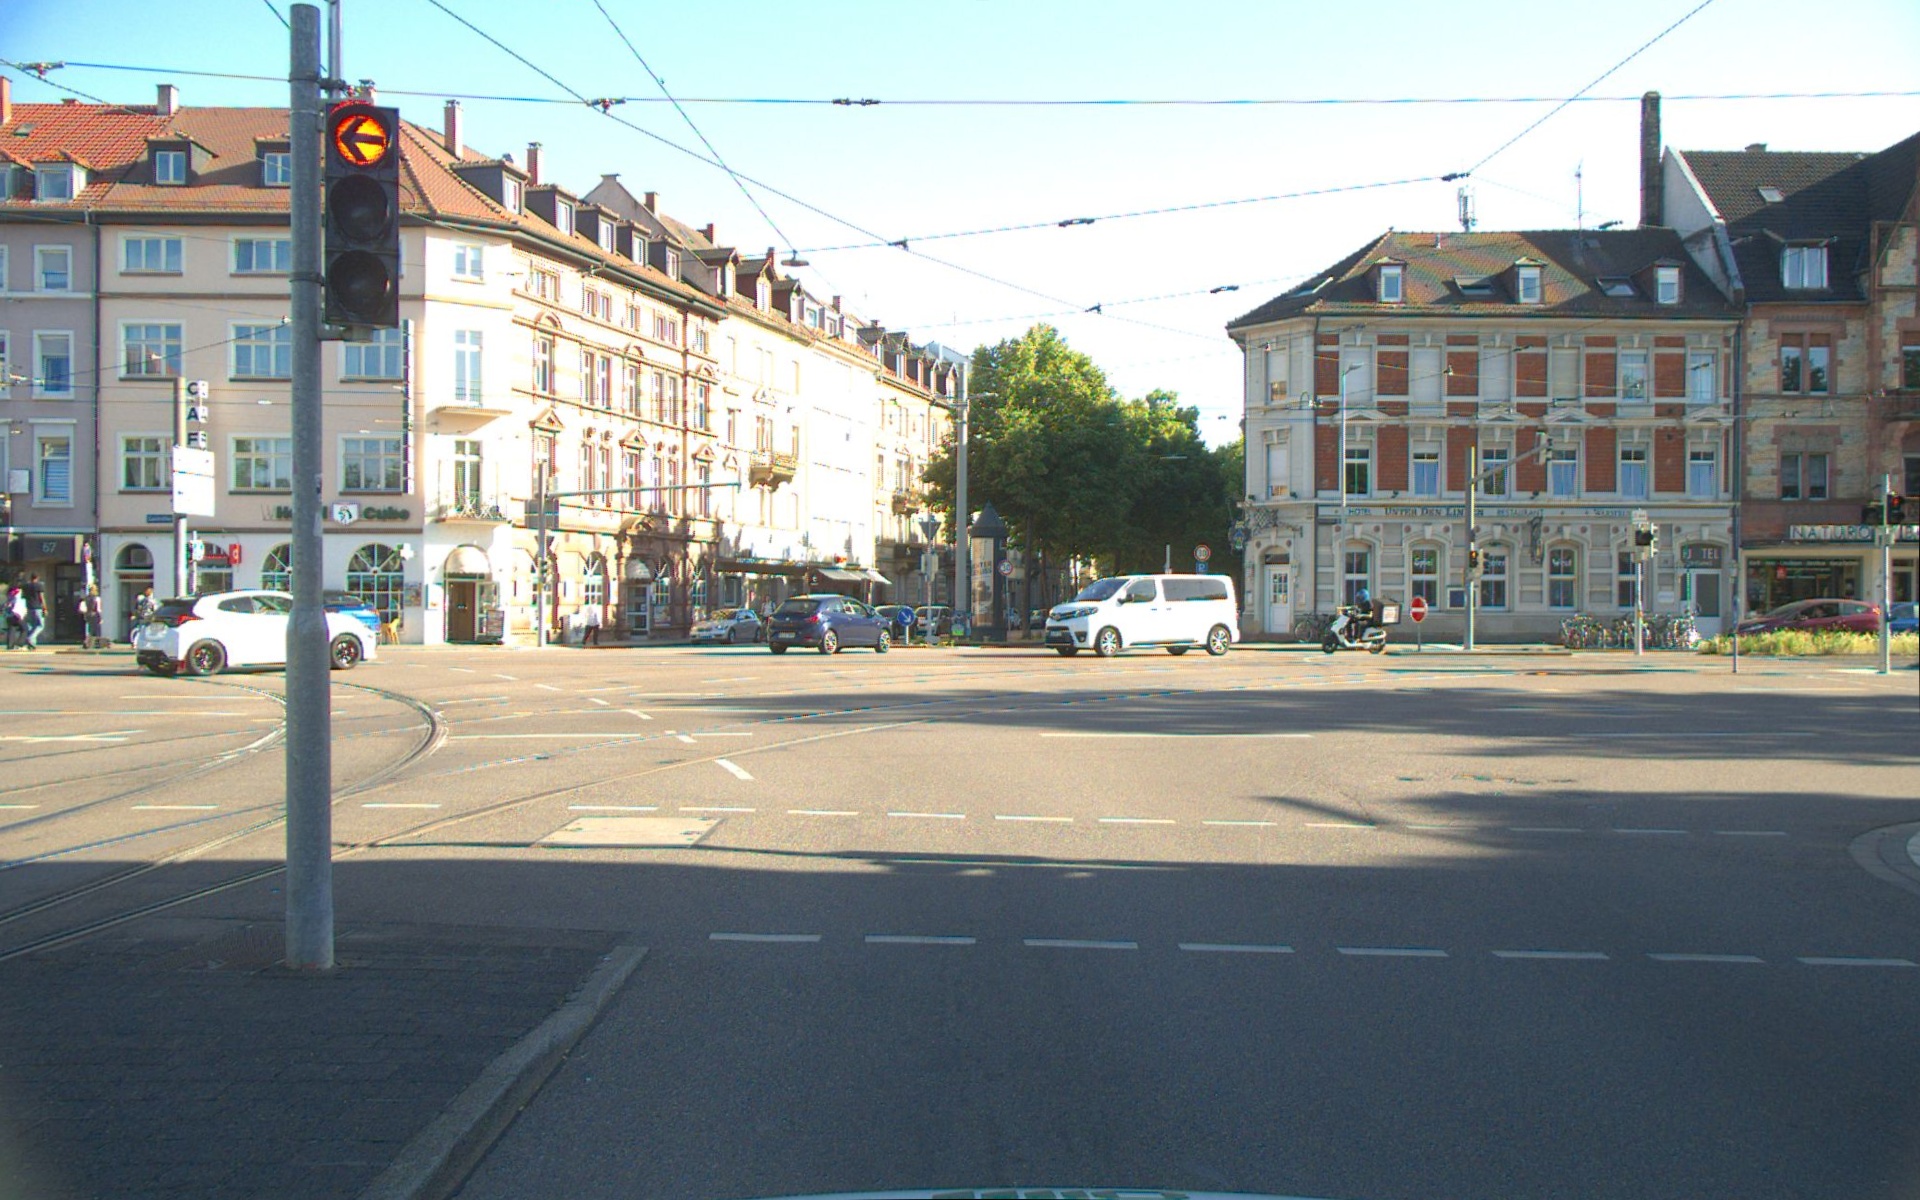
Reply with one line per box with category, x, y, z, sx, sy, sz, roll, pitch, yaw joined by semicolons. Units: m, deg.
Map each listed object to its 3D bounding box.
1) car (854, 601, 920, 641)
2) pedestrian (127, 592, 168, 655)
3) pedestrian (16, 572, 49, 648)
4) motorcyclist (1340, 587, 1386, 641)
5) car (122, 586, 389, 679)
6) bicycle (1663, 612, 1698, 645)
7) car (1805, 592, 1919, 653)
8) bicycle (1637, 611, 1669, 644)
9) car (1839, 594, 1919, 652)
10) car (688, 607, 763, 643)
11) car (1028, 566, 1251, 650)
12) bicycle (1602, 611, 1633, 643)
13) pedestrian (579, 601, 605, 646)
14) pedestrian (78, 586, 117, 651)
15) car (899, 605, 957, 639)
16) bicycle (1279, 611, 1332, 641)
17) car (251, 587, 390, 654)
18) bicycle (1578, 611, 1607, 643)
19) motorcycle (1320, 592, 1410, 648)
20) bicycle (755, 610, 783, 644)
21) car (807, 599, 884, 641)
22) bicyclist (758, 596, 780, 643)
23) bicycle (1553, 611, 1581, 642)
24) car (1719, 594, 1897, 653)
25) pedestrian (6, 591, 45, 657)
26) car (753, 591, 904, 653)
car;-3.215;0.931;73.445;1.786;1.715;3.877;1;0;16
pedestrian;-21.181;0.601;43.131;0.655;1.622;0.815;1;-1;-1
pedestrian;-22.904;0.256;40.859;0.518;1.854;0.674;1;-1;-16
motorcyclist;10.138;0.355;41.623;0.993;1.323;0.789;1;0;5
car;-12.507;0.523;29.514;1.864;1.479;3.986;0;1;41
bicycle;23.296;0.899;53.491;0.775;1.033;2.211;1;0;17
car;25.922;0.631;46.028;3.905;1.650;1.804;1;0;0
bicycle;22.484;0.887;53.699;0.749;1.025;2.221;1;0;17
car;28.432;0.687;48.937;3.905;1.650;1.804;1;0;0
car;-9.450;0.987;66.916;1.624;1.398;3.894;1;0;14
car;4.297;0.187;39.366;5.144;1.886;1.980;0;0;-30
bicycle;21.344;0.880;53.703;0.749;1.001;2.211;1;0;17
pedestrian;-13.617;0.868;61.190;0.556;1.671;0.792;1;-1;22
pedestrian;-22.585;0.475;43.321;0.571;1.677;0.840;1;-1;-1
car;-1.527;1.048;79.657;1.764;1.603;3.893;1;0;15
bicycle;11.983;0.902;57.286;1.764;0.979;0.604;1;0;14
car;-16.357;0.483;42.231;4.129;1.602;1.818;1;0;45
bicycle;20.565;0.867;53.796;0.749;0.985;2.211;1;0;17
motorcycle;10.173;0.506;41.616;2.090;1.357;0.797;1;0;5
bicycle;-7.513;1.056;65.114;0.553;1.276;1.558;1;0;14
car;-4.620;0.805;67.163;1.764;1.613;4.162;1;0;16
bicyclist;-7.516;0.767;65.123;0.553;1.835;0.915;1;-1;14
bicycle;19.811;0.854;54.033;0.749;0.979;2.211;1;0;17
car;21.854;0.595;42.717;3.790;1.451;1.595;1;1;-1
pedestrian;-24.153;0.607;42.752;0.561;1.677;0.727;1;-1;-1
car;-3.158;0.497;40.495;1.791;1.428;3.994;0;0;29
